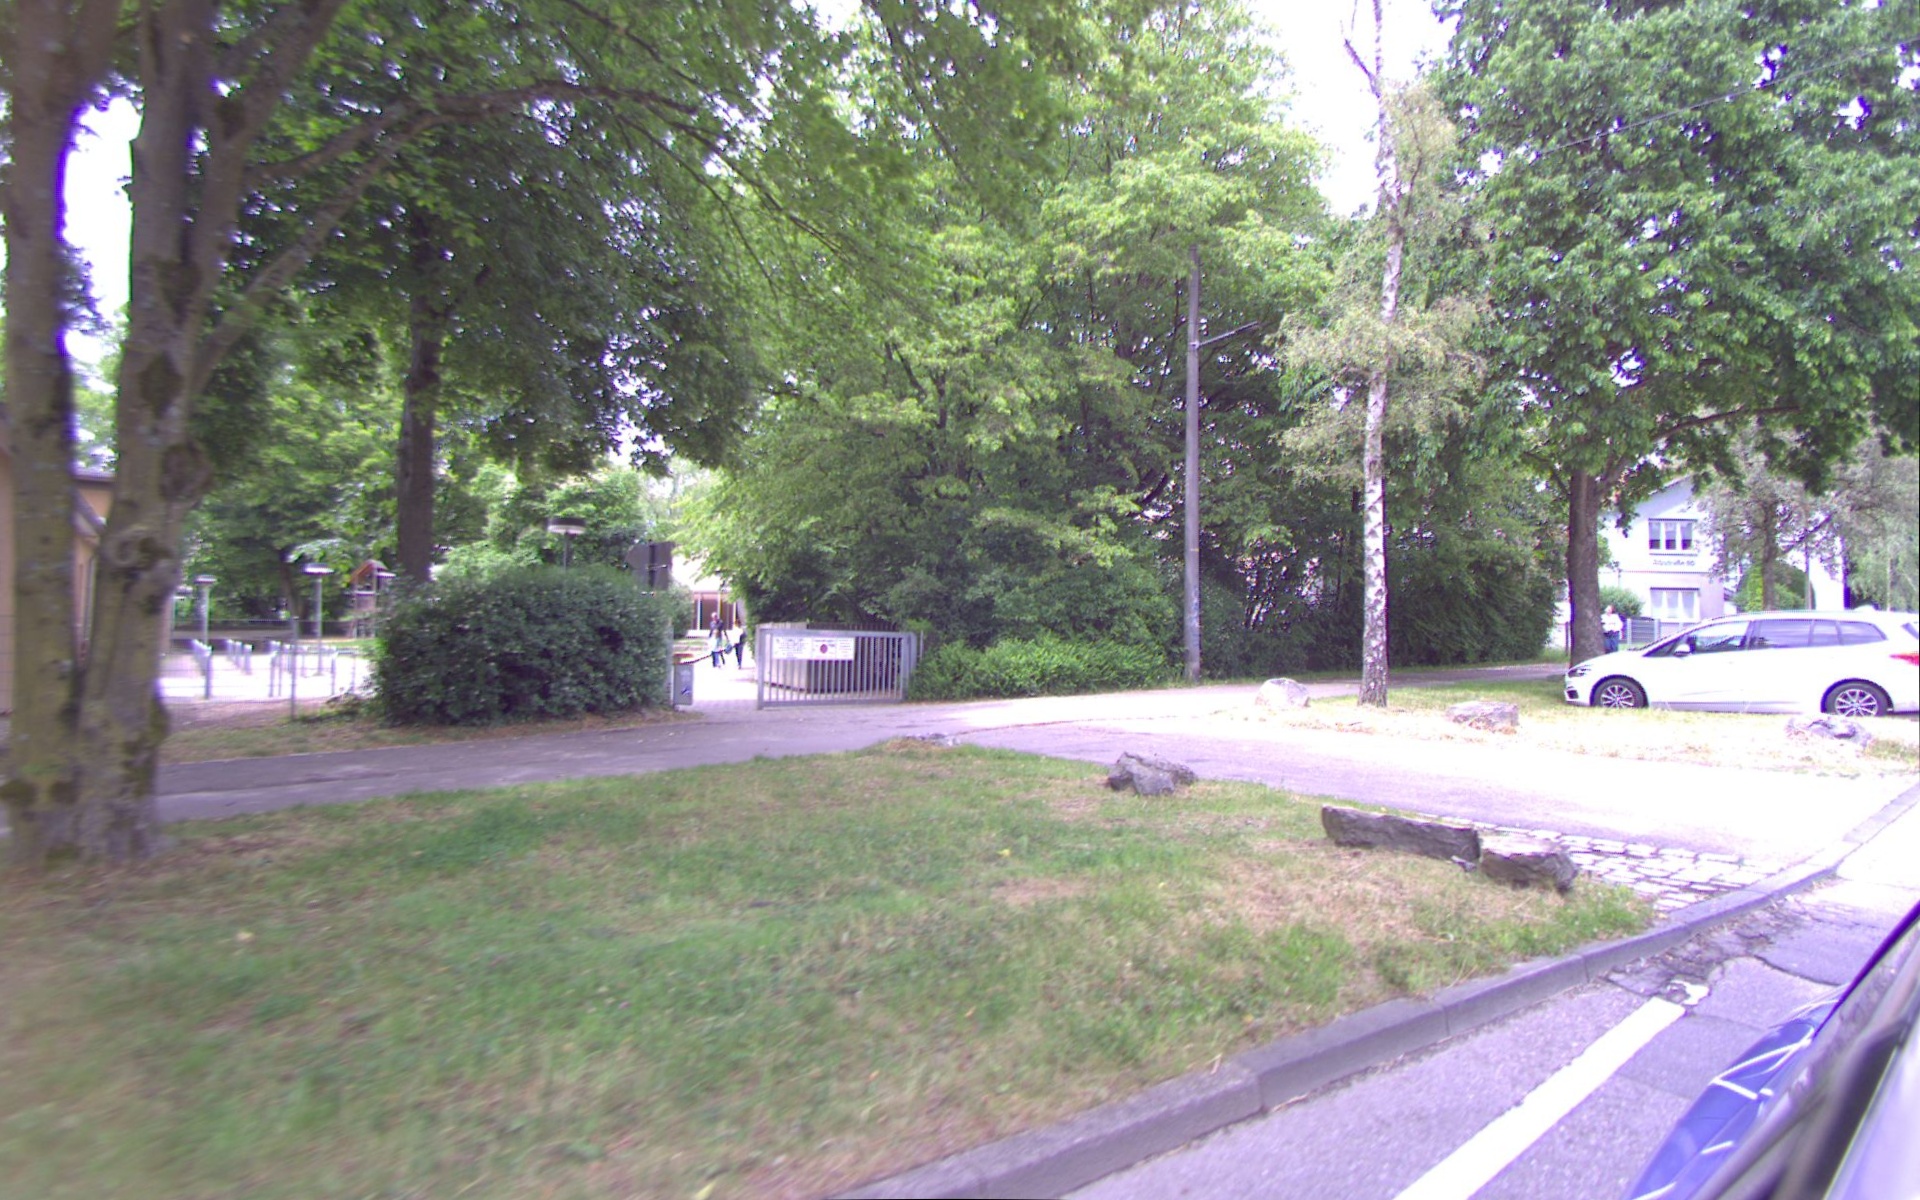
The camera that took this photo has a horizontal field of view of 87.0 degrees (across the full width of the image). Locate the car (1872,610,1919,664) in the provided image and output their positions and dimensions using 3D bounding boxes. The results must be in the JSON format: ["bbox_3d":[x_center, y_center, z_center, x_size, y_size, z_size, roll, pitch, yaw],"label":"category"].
[{"bbox_3d":[28.007,0.980,27.812,3.960,1.483,1.833,-2,-2,27],"label":"car"}]

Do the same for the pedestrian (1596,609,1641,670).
[{"bbox_3d":[18.286,1.081,28.100,0.762,1.665,0.695,0,-2,-16],"label":"pedestrian"}]

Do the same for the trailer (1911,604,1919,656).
[{"bbox_3d":[30.479,0.877,29.368,3.977,1.572,1.636,-1,-2,37],"label":"trailer"}]

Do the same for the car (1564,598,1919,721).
[{"bbox_3d":[11.851,0.839,15.179,4.465,1.606,1.877,-3,-2,43],"label":"car"}]

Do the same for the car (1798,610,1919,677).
[{"bbox_3d":[21.775,0.963,23.012,3.974,1.483,1.842,-2,-2,36],"label":"car"}]

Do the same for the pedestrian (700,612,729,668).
[{"bbox_3d":[-8.200,1.328,33.793,0.710,1.848,0.864,1,-1,2],"label":"pedestrian"}]

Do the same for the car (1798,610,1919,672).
[{"bbox_3d":[23.350,0.985,24.893,3.971,1.483,1.774,-2,-2,34],"label":"car"}]

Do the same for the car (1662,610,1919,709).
[{"bbox_3d":[14.034,0.932,16.556,4.121,1.483,1.774,-2,-2,37],"label":"car"}]

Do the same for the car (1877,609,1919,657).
[{"bbox_3d":[31.530,1.004,31.552,3.965,1.483,1.772,-2,-2,30],"label":"car"}]
